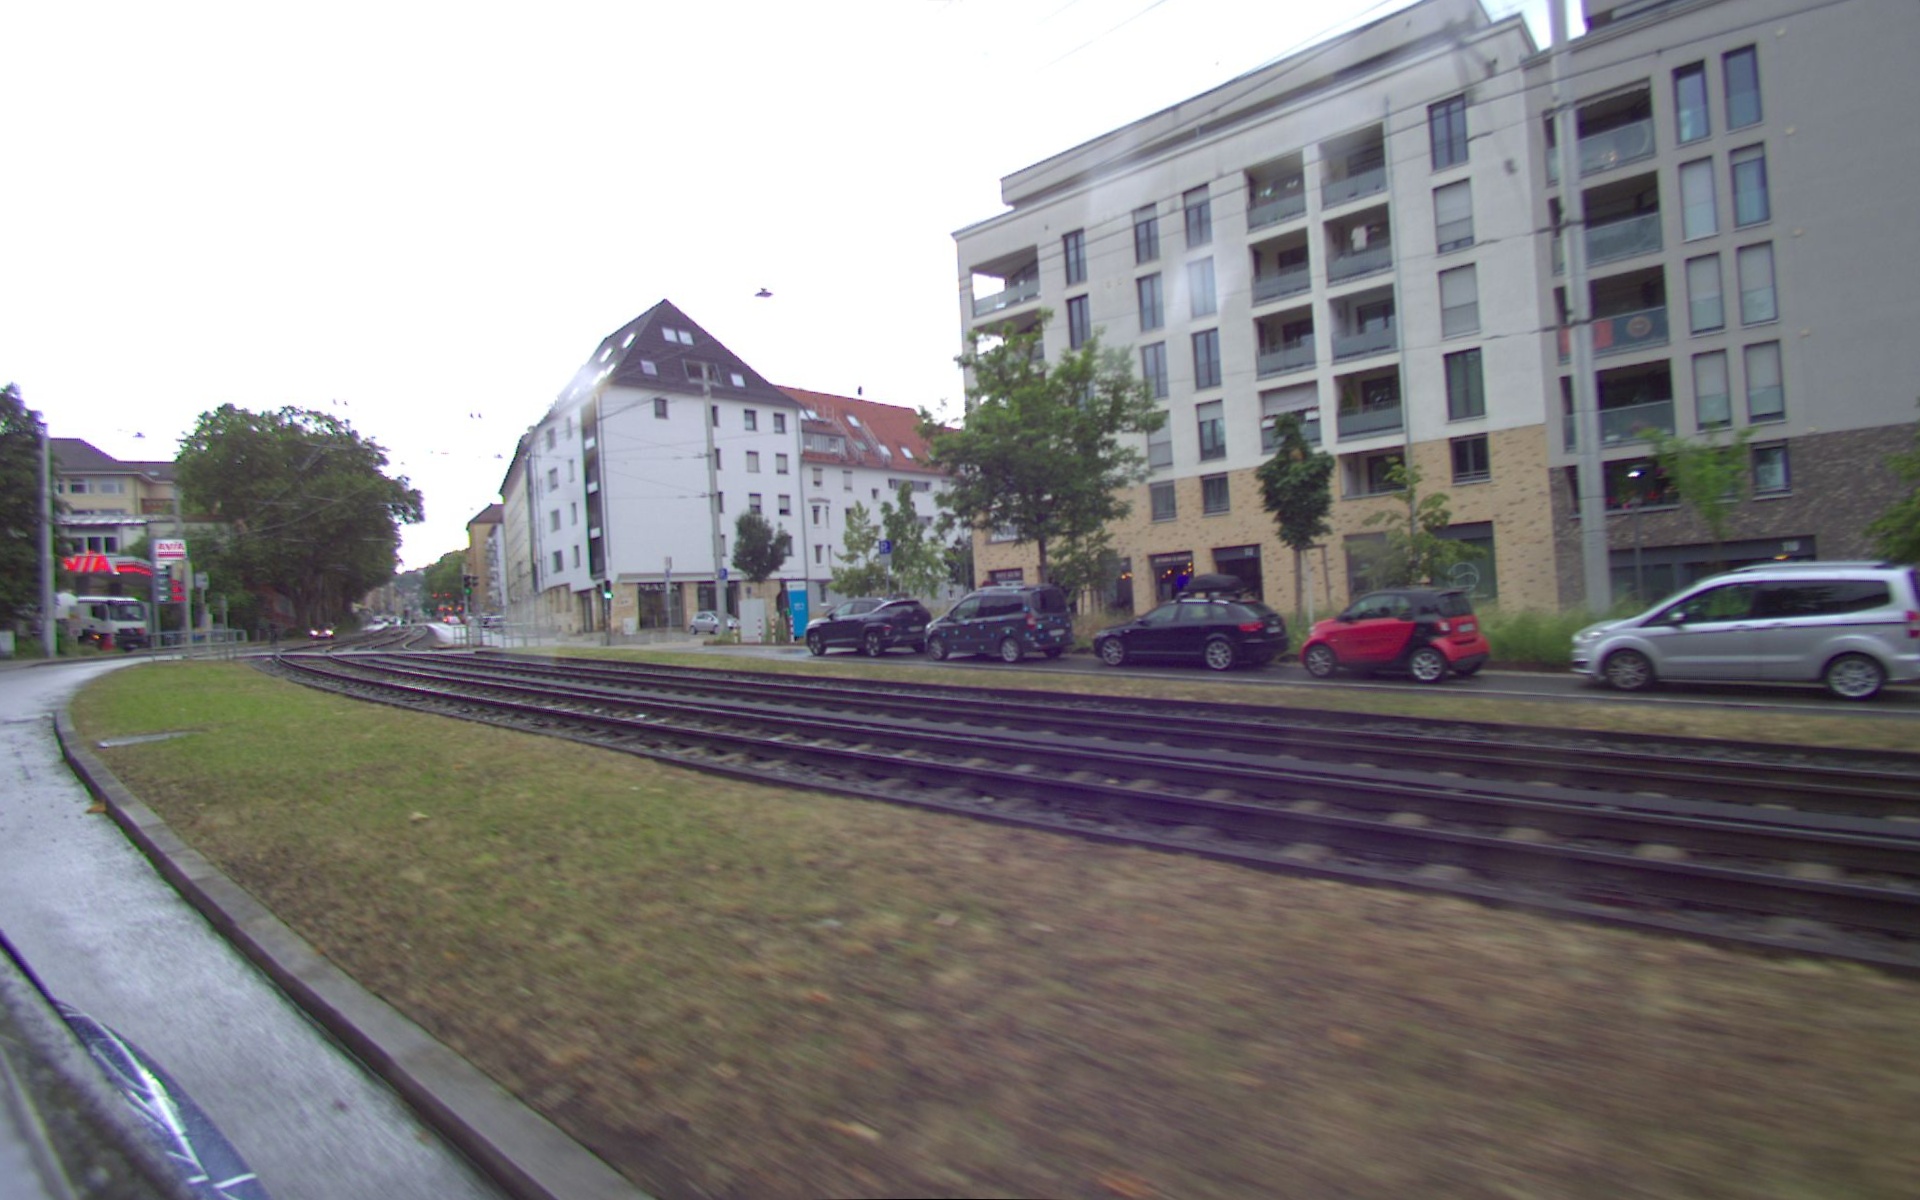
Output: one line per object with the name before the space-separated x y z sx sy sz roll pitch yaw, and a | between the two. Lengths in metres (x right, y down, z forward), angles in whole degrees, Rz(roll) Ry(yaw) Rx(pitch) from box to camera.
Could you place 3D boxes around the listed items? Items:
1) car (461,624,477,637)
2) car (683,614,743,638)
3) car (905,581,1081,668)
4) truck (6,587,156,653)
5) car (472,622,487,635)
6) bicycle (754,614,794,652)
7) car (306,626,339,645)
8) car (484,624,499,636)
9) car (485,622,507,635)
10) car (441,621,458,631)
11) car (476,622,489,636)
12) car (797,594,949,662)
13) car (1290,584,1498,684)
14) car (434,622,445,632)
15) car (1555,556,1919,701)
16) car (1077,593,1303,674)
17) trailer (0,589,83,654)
car | -82.313 5.075 169.586 1.997 2.029 4.240 -1 0 -30
car | -15.579 1.659 63.766 3.913 1.431 1.580 -2 0 39
car | 0.705 0.566 24.557 1.563 1.873 4.336 -4 2 -44
truck | -47.999 1.098 55.381 6.048 3.425 2.833 -1 -1 5
car | -70.279 4.136 147.967 1.699 1.822 3.603 -1 0 -30
bicycle | -8.088 1.428 43.912 0.666 1.608 2.366 -1 -1 -38
car | -55.479 3.096 88.131 1.858 1.502 3.862 -1 0 -24
car | -58.978 3.741 127.367 1.304 1.495 3.201 -1 0 -30
car | -56.670 3.453 123.538 1.997 1.554 4.012 -1 0 -30
car | -88.051 4.486 174.379 1.665 1.548 5.027 -1 -1 -38
car | -67.393 4.132 142.810 1.531 1.897 4.054 -1 0 -27
car | -2.486 0.748 28.249 1.971 1.616 4.219 -5 3 -44
car | 7.422 0.552 17.472 1.451 1.542 2.936 -1 0 -40
car | -102.919 5.303 200.139 1.917 2.029 4.013 -1 0 -27
car | 10.975 0.364 14.195 4.258 1.761 1.645 -1 0 43
car | 4.644 0.664 20.927 1.532 1.458 4.403 -3 1 -44
trailer | -54.259 1.251 55.991 9.714 3.421 2.809 -2 0 6
